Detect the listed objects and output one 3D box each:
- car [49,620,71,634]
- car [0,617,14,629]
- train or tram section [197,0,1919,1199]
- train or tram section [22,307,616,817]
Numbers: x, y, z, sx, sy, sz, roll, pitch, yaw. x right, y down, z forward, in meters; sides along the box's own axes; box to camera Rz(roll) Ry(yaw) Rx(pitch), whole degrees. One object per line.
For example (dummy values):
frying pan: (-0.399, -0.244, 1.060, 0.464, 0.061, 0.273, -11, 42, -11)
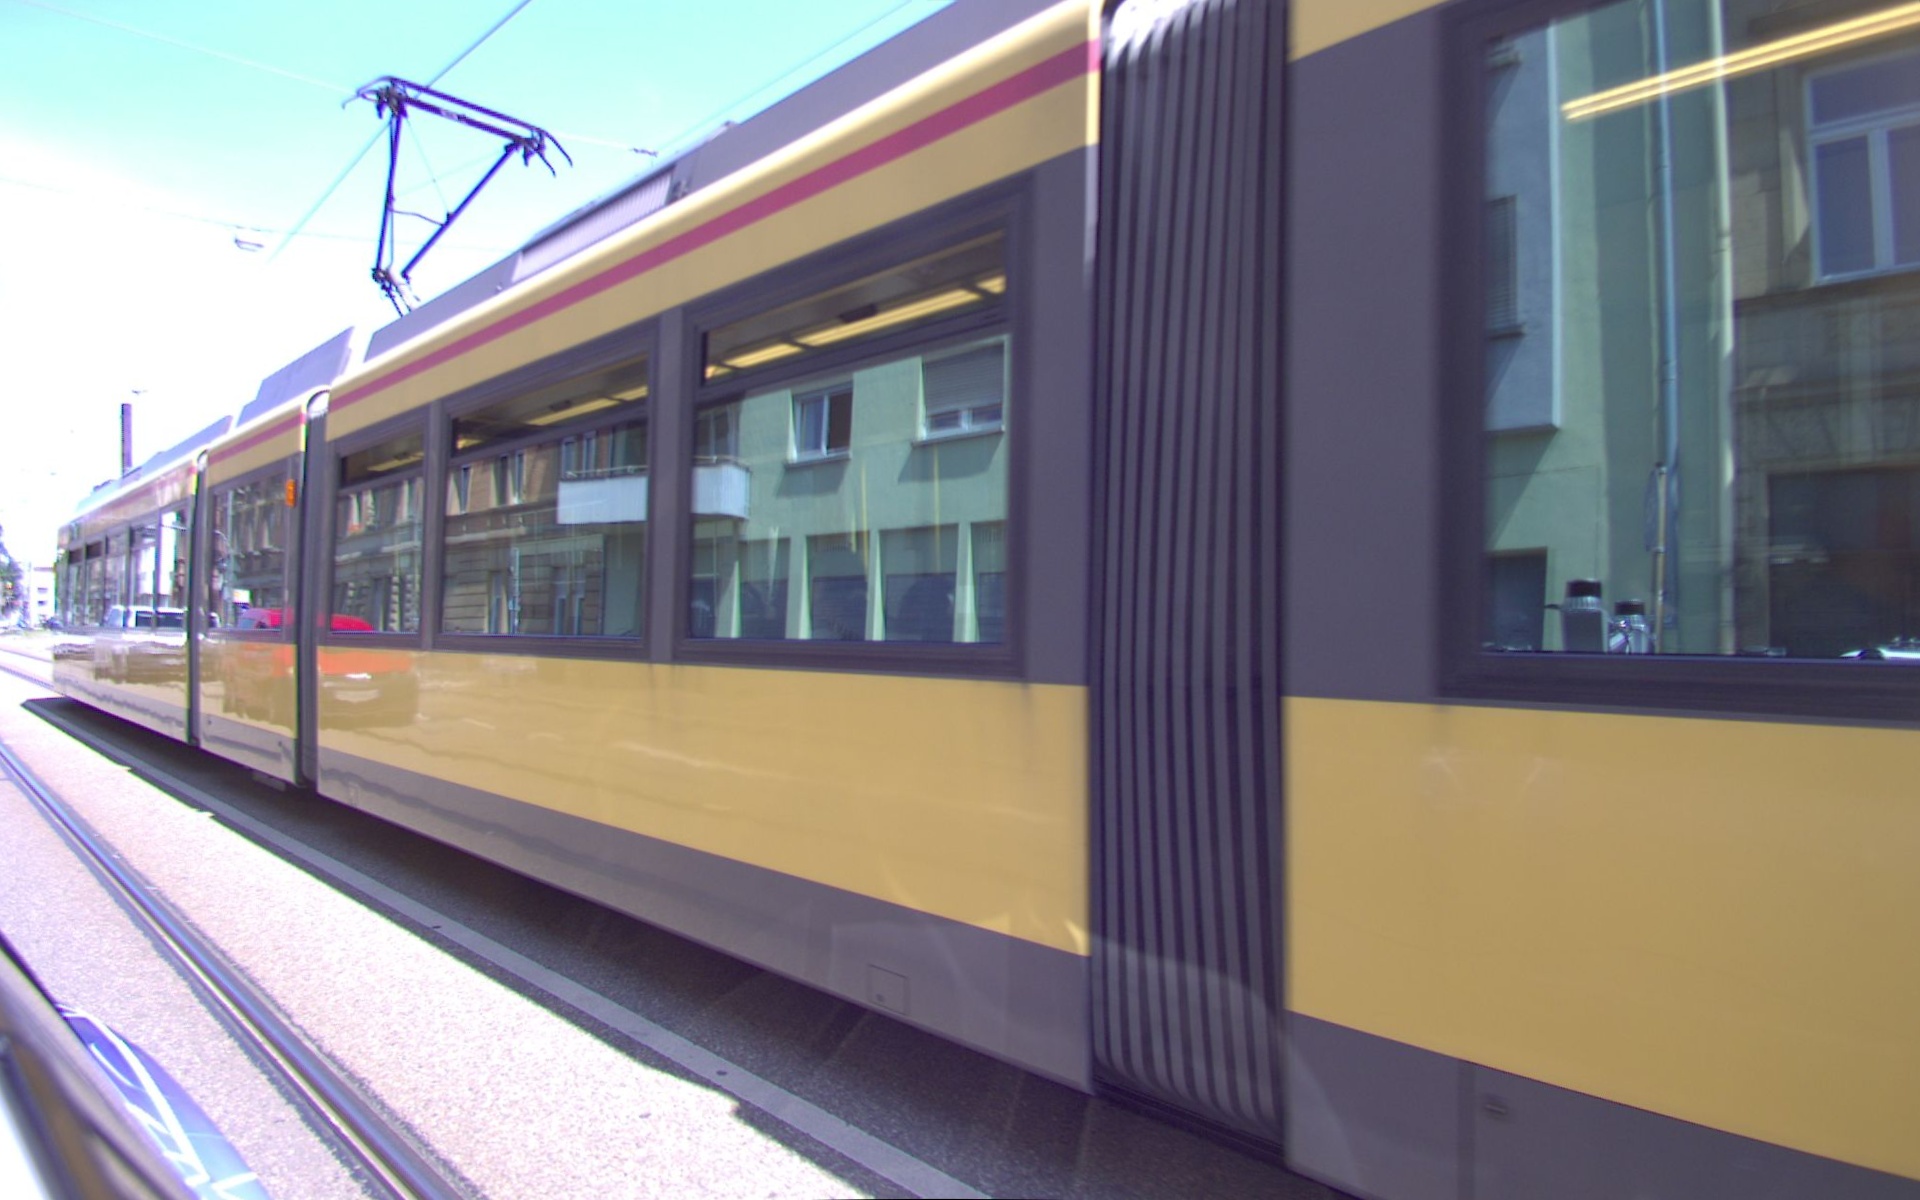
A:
car: (-107.075, 3.189, 120.359, 1.800, 1.639, 4.529, 2, -2, -44)
car: (-127.763, 3.091, 135.033, 5.131, 1.541, 1.971, -1, -2, 43)
train or tram section: (-0.038, -0.329, 4.475, 13.421, 3.607, 2.929, -1, -1, 42)
train or tram section: (-9.114, -0.168, 12.788, 13.421, 3.607, 2.929, -1, -1, 42)
